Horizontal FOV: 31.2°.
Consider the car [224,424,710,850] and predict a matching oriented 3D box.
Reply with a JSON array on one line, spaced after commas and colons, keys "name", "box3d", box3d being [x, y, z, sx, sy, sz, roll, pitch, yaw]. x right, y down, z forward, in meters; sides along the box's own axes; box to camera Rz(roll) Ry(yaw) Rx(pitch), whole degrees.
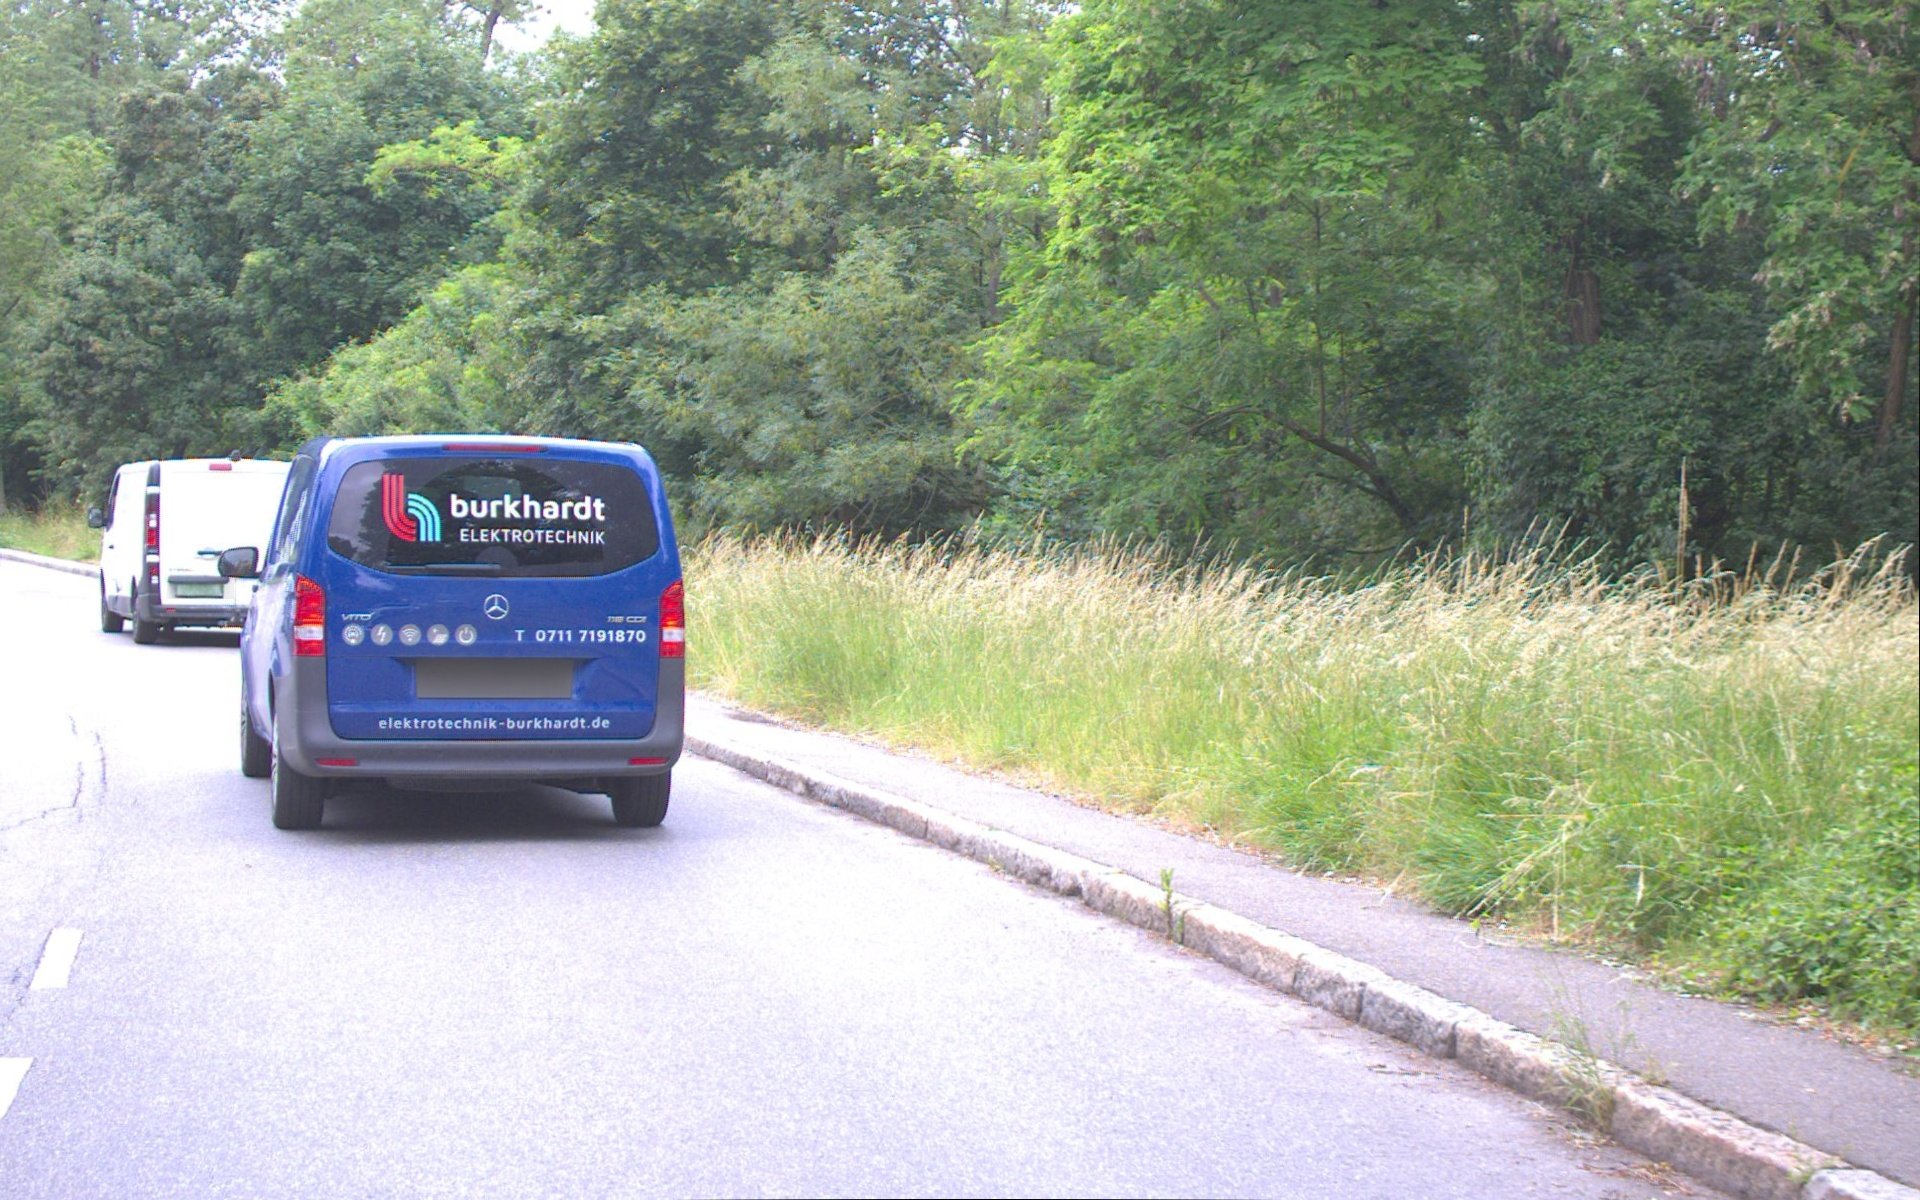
[{"name": "car", "box3d": [-2.644, 0.079, 17.517, 1.913, 1.831, 4.296, 2, 3, -15]}]

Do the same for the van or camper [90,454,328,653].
[{"name": "van or camper", "box3d": [-8.205, -0.554, 37.221, 2.019, 1.950, 4.898, 2, 2, -18]}]
